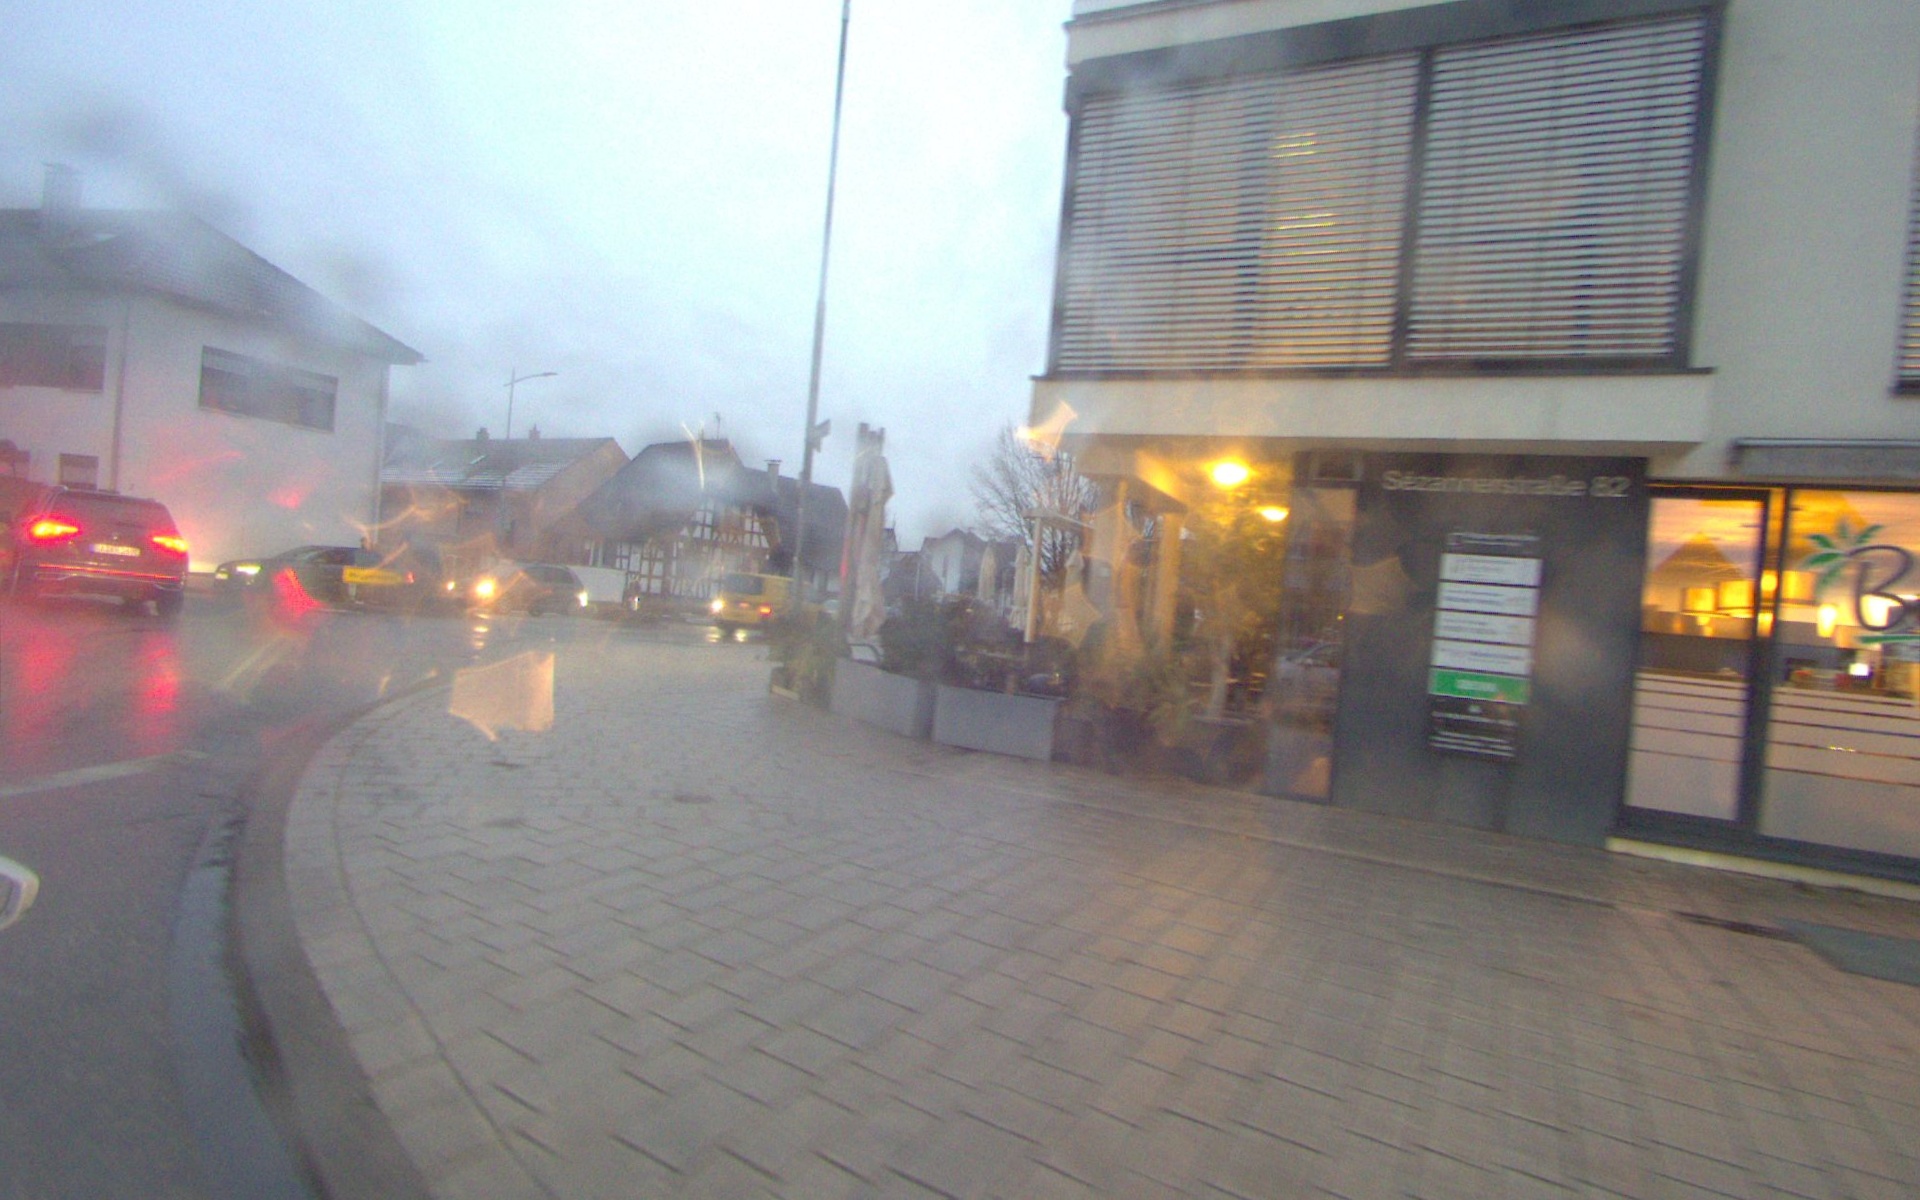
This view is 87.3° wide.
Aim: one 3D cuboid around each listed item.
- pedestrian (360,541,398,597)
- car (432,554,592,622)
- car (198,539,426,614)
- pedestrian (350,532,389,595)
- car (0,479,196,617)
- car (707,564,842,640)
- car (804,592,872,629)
[{"bbox_3d":[-17.957,-0.957,31.092,0.574,1.642,0.714,7,1,38],"label":"pedestrian"},{"bbox_3d":[-12.932,-0.311,29.273,1.668,1.570,3.995,5,-2,28],"label":"car"},{"bbox_3d":[-15.537,-0.520,24.341,1.823,1.400,4.221,3,-2,35],"label":"car"},{"bbox_3d":[-18.628,-1.141,31.741,0.628,1.855,0.714,9,2,38],"label":"pedestrian"},{"bbox_3d":[-12.684,-0.751,14.724,1.909,1.636,3.902,5,0,-44],"label":"car"},{"bbox_3d":[-5.848,0.129,32.435,1.963,2.038,4.900,6,0,19],"label":"car"},{"bbox_3d":[-6.246,0.566,51.927,1.643,1.569,3.714,6,0,24],"label":"car"}]
